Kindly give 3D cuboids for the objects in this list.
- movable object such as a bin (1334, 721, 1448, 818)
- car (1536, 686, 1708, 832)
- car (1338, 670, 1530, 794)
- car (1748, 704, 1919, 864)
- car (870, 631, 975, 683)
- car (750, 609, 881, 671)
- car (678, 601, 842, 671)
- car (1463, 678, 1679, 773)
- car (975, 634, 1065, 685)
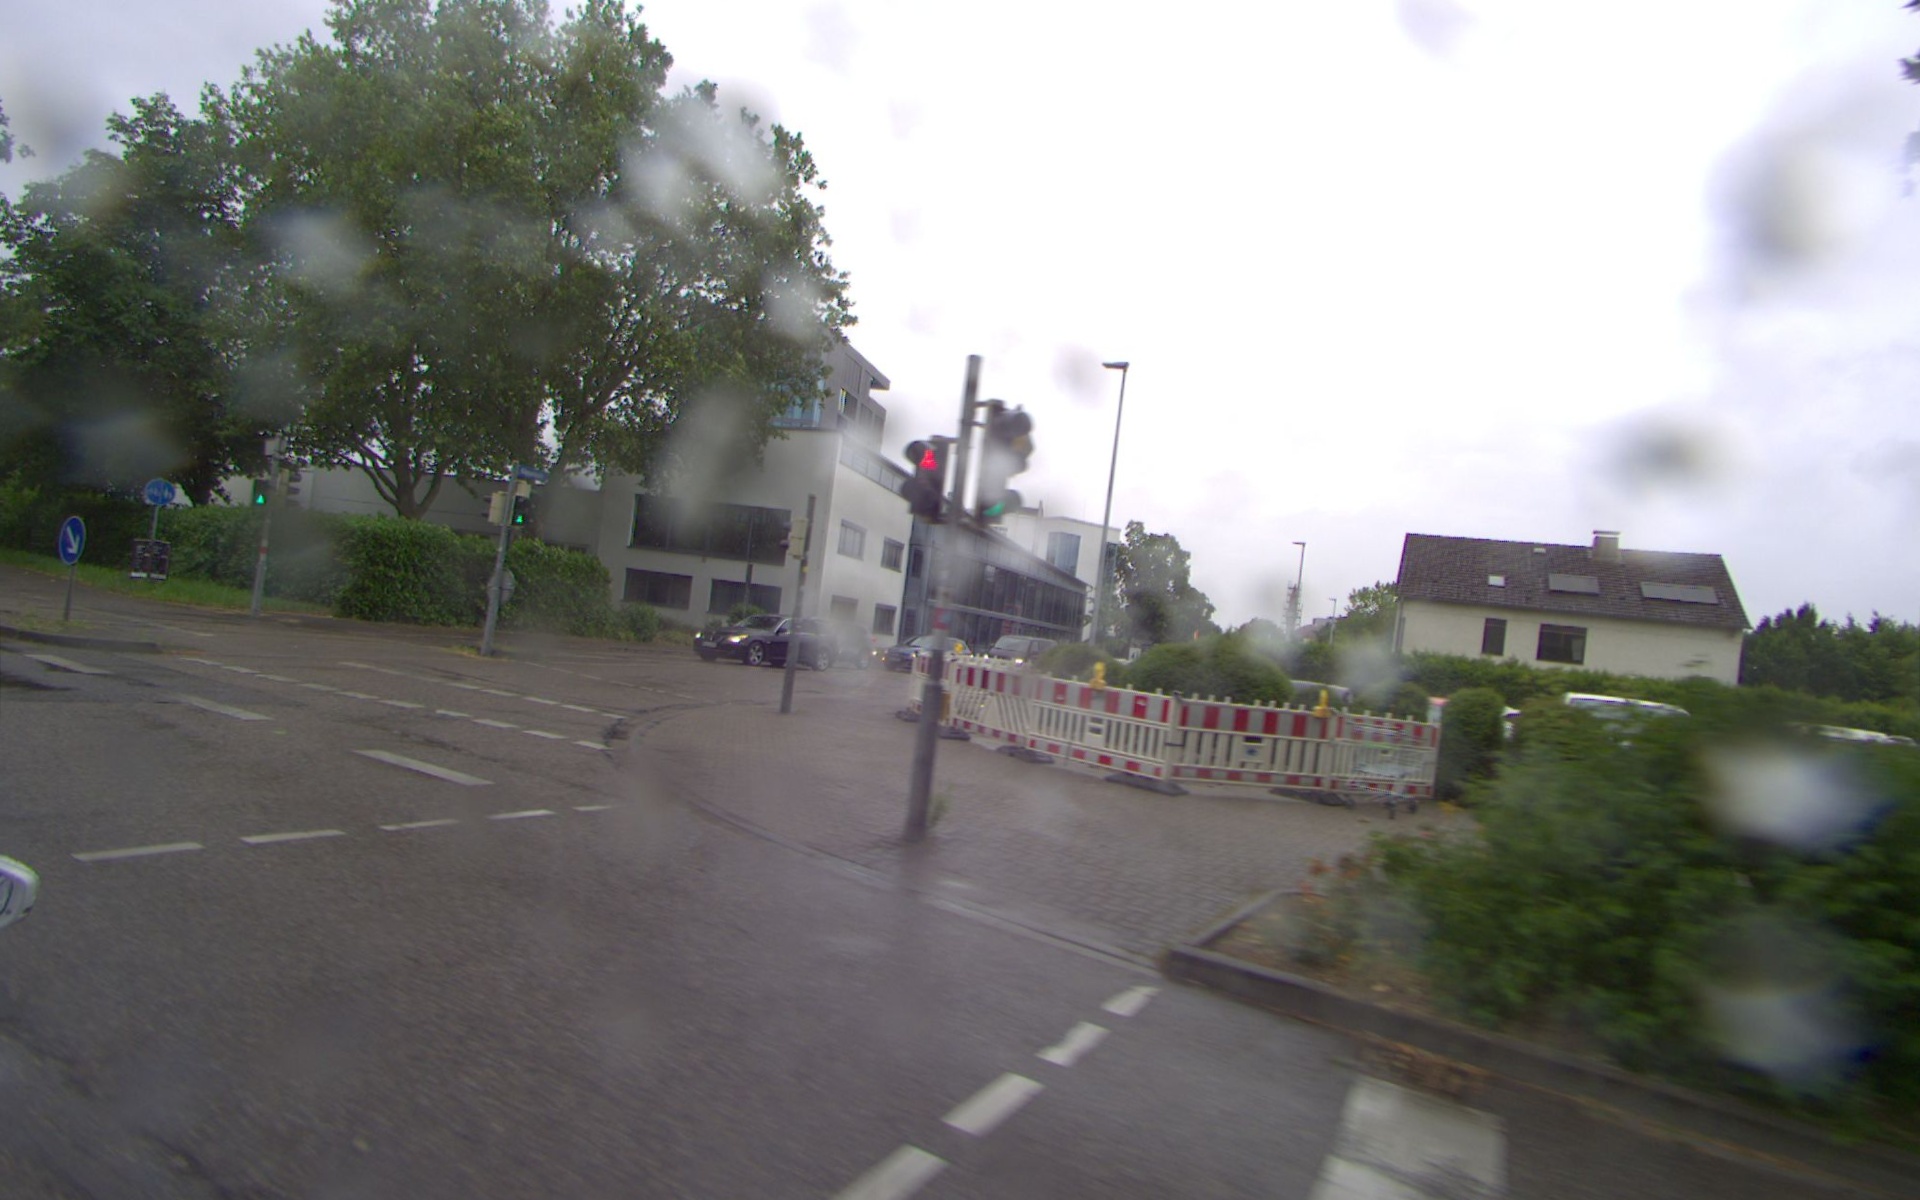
[{"bbox_3d":[4.970,1.946,11.590,1.066,0.980,0.705,7,-2,-37],"label":"movable object such as a bin"},{"bbox_3d":[10.431,2.401,16.168,1.750,1.778,4.548,6,-2,29],"label":"car"},{"bbox_3d":[7.975,2.147,16.697,1.800,1.608,4.289,4,-3,40],"label":"car"},{"bbox_3d":[12.630,2.473,14.146,1.720,1.778,4.545,6,-2,31],"label":"car"},{"bbox_3d":[-1.367,2.215,38.615,1.796,1.609,4.299,6,-2,31],"label":"car"},{"bbox_3d":[-4.700,1.370,33.376,1.857,1.609,4.299,6,-2,31],"label":"car"},{"bbox_3d":[-5.375,1.042,27.553,1.822,1.500,4.384,5,-2,31],"label":"car"},{"bbox_3d":[14.829,3.013,24.650,4.234,1.609,1.823,6,-1,31],"label":"car"},{"bbox_3d":[2.636,2.582,42.923,1.796,1.818,4.476,6,-2,31],"label":"car"}]
